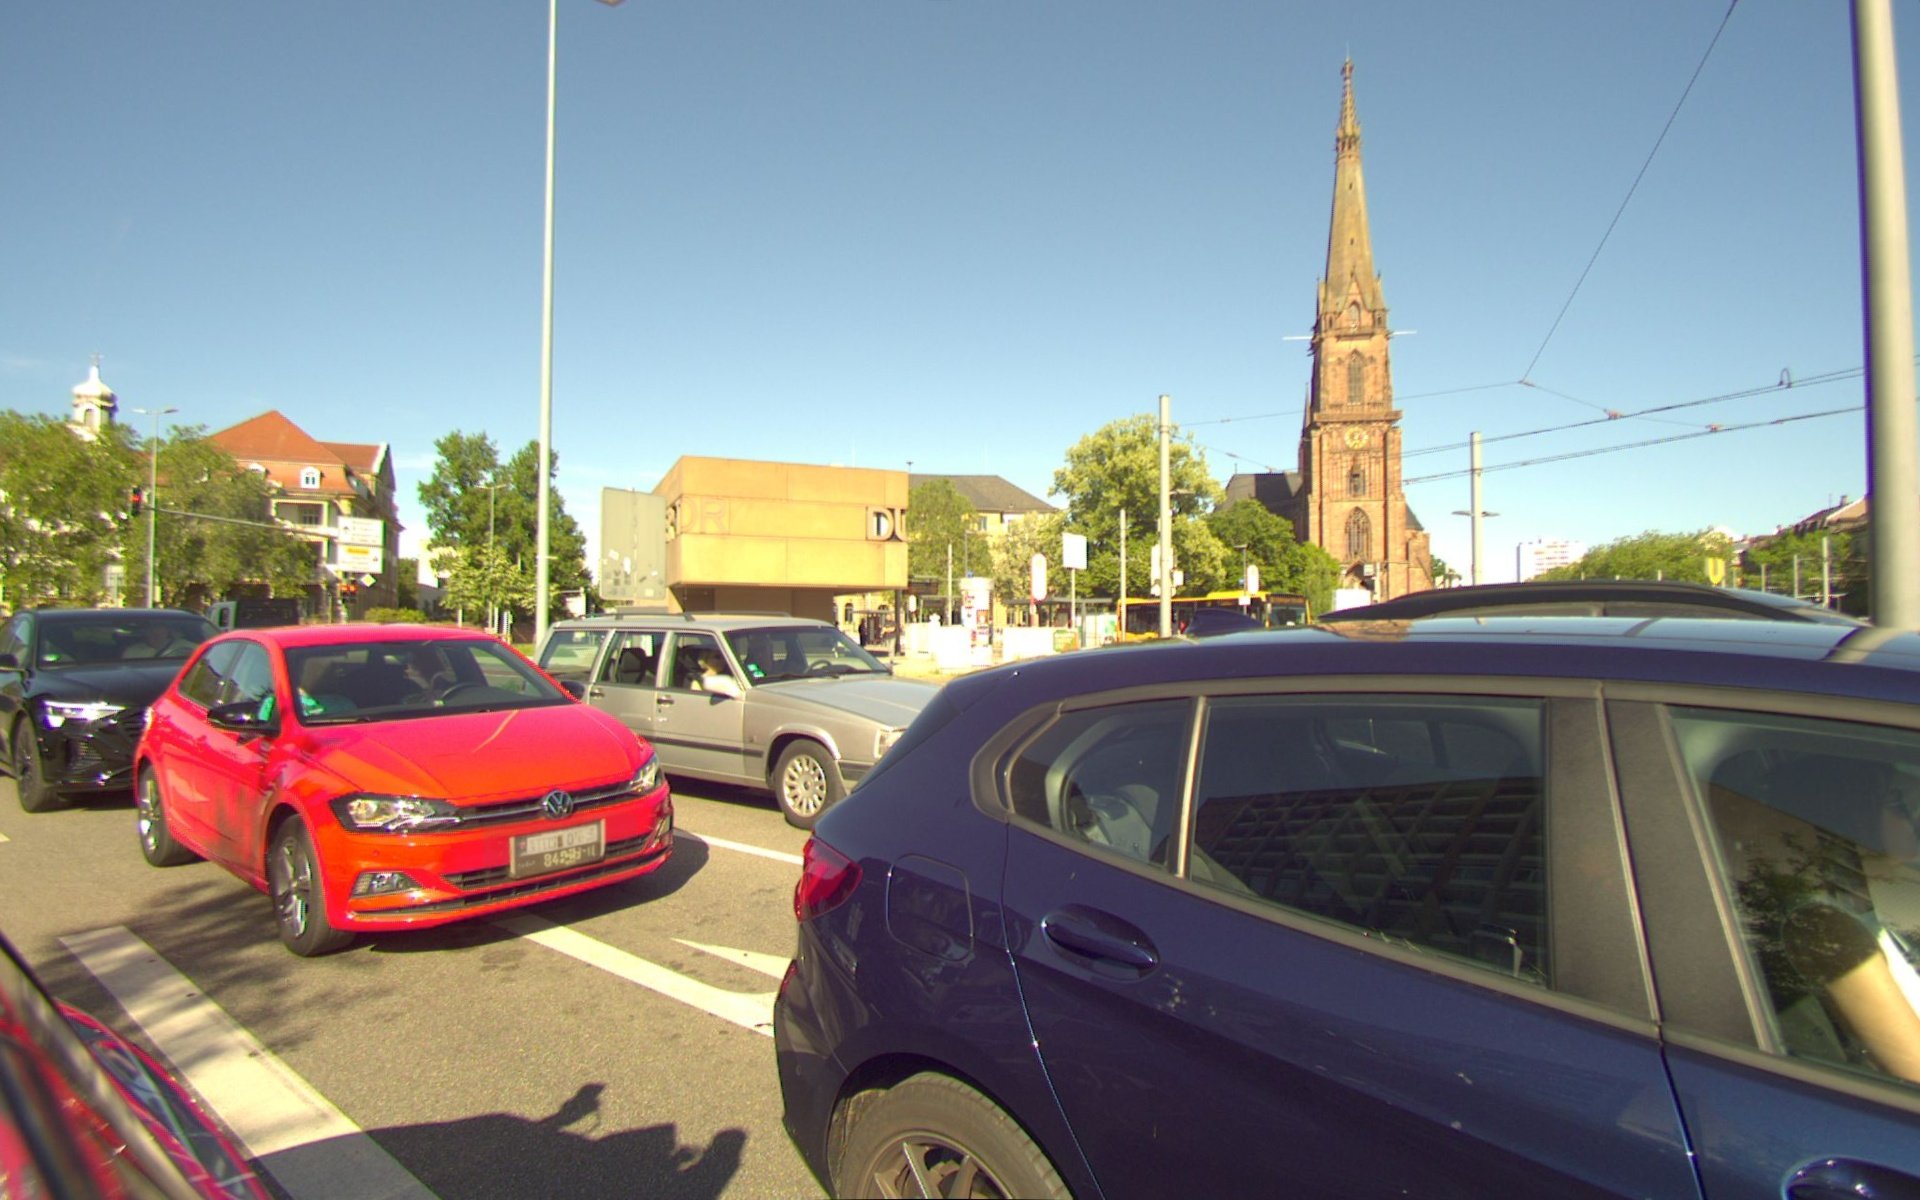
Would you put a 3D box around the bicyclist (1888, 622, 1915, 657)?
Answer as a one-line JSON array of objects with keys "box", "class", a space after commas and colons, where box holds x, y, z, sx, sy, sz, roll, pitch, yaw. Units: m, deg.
[{"box": [39.171, 1.639, 42.107, 0.677, 1.466, 0.775, -2, -3, 35], "class": "bicyclist"}]

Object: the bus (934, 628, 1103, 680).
[{"box": [1.464, 1.350, 26.188, 4.174, 1.251, 1.627, -1, -2, 35], "class": "bus"}]

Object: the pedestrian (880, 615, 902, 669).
[{"box": [-2.333, 1.422, 34.287, 0.659, 1.802, 0.645, -1, -1, 5], "class": "pedestrian"}]

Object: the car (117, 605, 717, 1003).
[{"box": [-3.224, 0.805, 5.676, 3.850, 1.484, 1.653, -2, -1, 40], "class": "car"}]

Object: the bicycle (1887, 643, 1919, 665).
[{"box": [39.183, 2.239, 42.064, 0.677, 0.885, 1.876, -2, -2, 35], "class": "bicycle"}]

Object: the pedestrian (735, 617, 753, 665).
[{"box": [-8.159, 1.537, 38.260, 0.635, 1.789, 0.618, 0, -2, -8], "class": "pedestrian"}]

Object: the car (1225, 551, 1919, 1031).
[{"box": [3.340, 0.623, 4.161, 4.010, 1.529, 1.738, -2, -2, 44], "class": "car"}]

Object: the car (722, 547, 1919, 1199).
[{"box": [1.574, 0.675, 1.377, 4.030, 1.456, 1.692, -1, -1, 42], "class": "car"}]

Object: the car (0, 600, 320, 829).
[{"box": [-7.816, 0.879, 9.320, 4.446, 1.628, 1.836, -1, -2, 38], "class": "car"}]

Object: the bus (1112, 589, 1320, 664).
[{"box": [11.647, 1.315, 48.109, 2.715, 3.088, 12.201, 1, -2, -23], "class": "bus"}]

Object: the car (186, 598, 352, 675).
[{"box": [-22.646, 1.184, 33.083, 6.191, 2.331, 2.095, -1, -2, 31], "class": "car"}]

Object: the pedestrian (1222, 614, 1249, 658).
[{"box": [11.731, 1.538, 43.085, 0.882, 1.869, 0.679, -2, -3, 41], "class": "pedestrian"}]

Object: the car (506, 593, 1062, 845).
[{"box": [-1.653, 0.798, 8.227, 4.745, 1.484, 1.692, -3, 0, 38], "class": "car"}]

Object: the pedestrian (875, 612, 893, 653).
[{"box": [-3.369, 1.439, 44.888, 0.468, 1.789, 0.638, -2, -2, 36], "class": "pedestrian"}]

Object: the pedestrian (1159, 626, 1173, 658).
[{"box": [9.667, 1.970, 47.531, 0.566, 1.525, 0.524, -1, -1, 20], "class": "pedestrian"}]

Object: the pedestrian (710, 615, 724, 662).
[{"box": [-9.251, 1.461, 38.530, 0.460, 1.789, 0.648, 0, -2, -21], "class": "pedestrian"}]

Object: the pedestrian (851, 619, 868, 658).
[{"box": [-4.622, 1.759, 46.418, 0.468, 1.789, 0.638, -2, -2, 36], "class": "pedestrian"}]

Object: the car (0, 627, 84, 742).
[{"box": [-13.661, 1.119, 13.927, 3.704, 1.429, 1.557, -2, -1, 35], "class": "car"}]

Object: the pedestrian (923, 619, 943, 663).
[{"box": [-1.092, 1.658, 41.054, 0.634, 1.789, 0.470, 1, -2, -29], "class": "pedestrian"}]

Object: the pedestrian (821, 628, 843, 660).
[{"box": [-5.462, 1.862, 43.167, 0.635, 1.320, 0.764, 1, -2, -40], "class": "pedestrian"}]
